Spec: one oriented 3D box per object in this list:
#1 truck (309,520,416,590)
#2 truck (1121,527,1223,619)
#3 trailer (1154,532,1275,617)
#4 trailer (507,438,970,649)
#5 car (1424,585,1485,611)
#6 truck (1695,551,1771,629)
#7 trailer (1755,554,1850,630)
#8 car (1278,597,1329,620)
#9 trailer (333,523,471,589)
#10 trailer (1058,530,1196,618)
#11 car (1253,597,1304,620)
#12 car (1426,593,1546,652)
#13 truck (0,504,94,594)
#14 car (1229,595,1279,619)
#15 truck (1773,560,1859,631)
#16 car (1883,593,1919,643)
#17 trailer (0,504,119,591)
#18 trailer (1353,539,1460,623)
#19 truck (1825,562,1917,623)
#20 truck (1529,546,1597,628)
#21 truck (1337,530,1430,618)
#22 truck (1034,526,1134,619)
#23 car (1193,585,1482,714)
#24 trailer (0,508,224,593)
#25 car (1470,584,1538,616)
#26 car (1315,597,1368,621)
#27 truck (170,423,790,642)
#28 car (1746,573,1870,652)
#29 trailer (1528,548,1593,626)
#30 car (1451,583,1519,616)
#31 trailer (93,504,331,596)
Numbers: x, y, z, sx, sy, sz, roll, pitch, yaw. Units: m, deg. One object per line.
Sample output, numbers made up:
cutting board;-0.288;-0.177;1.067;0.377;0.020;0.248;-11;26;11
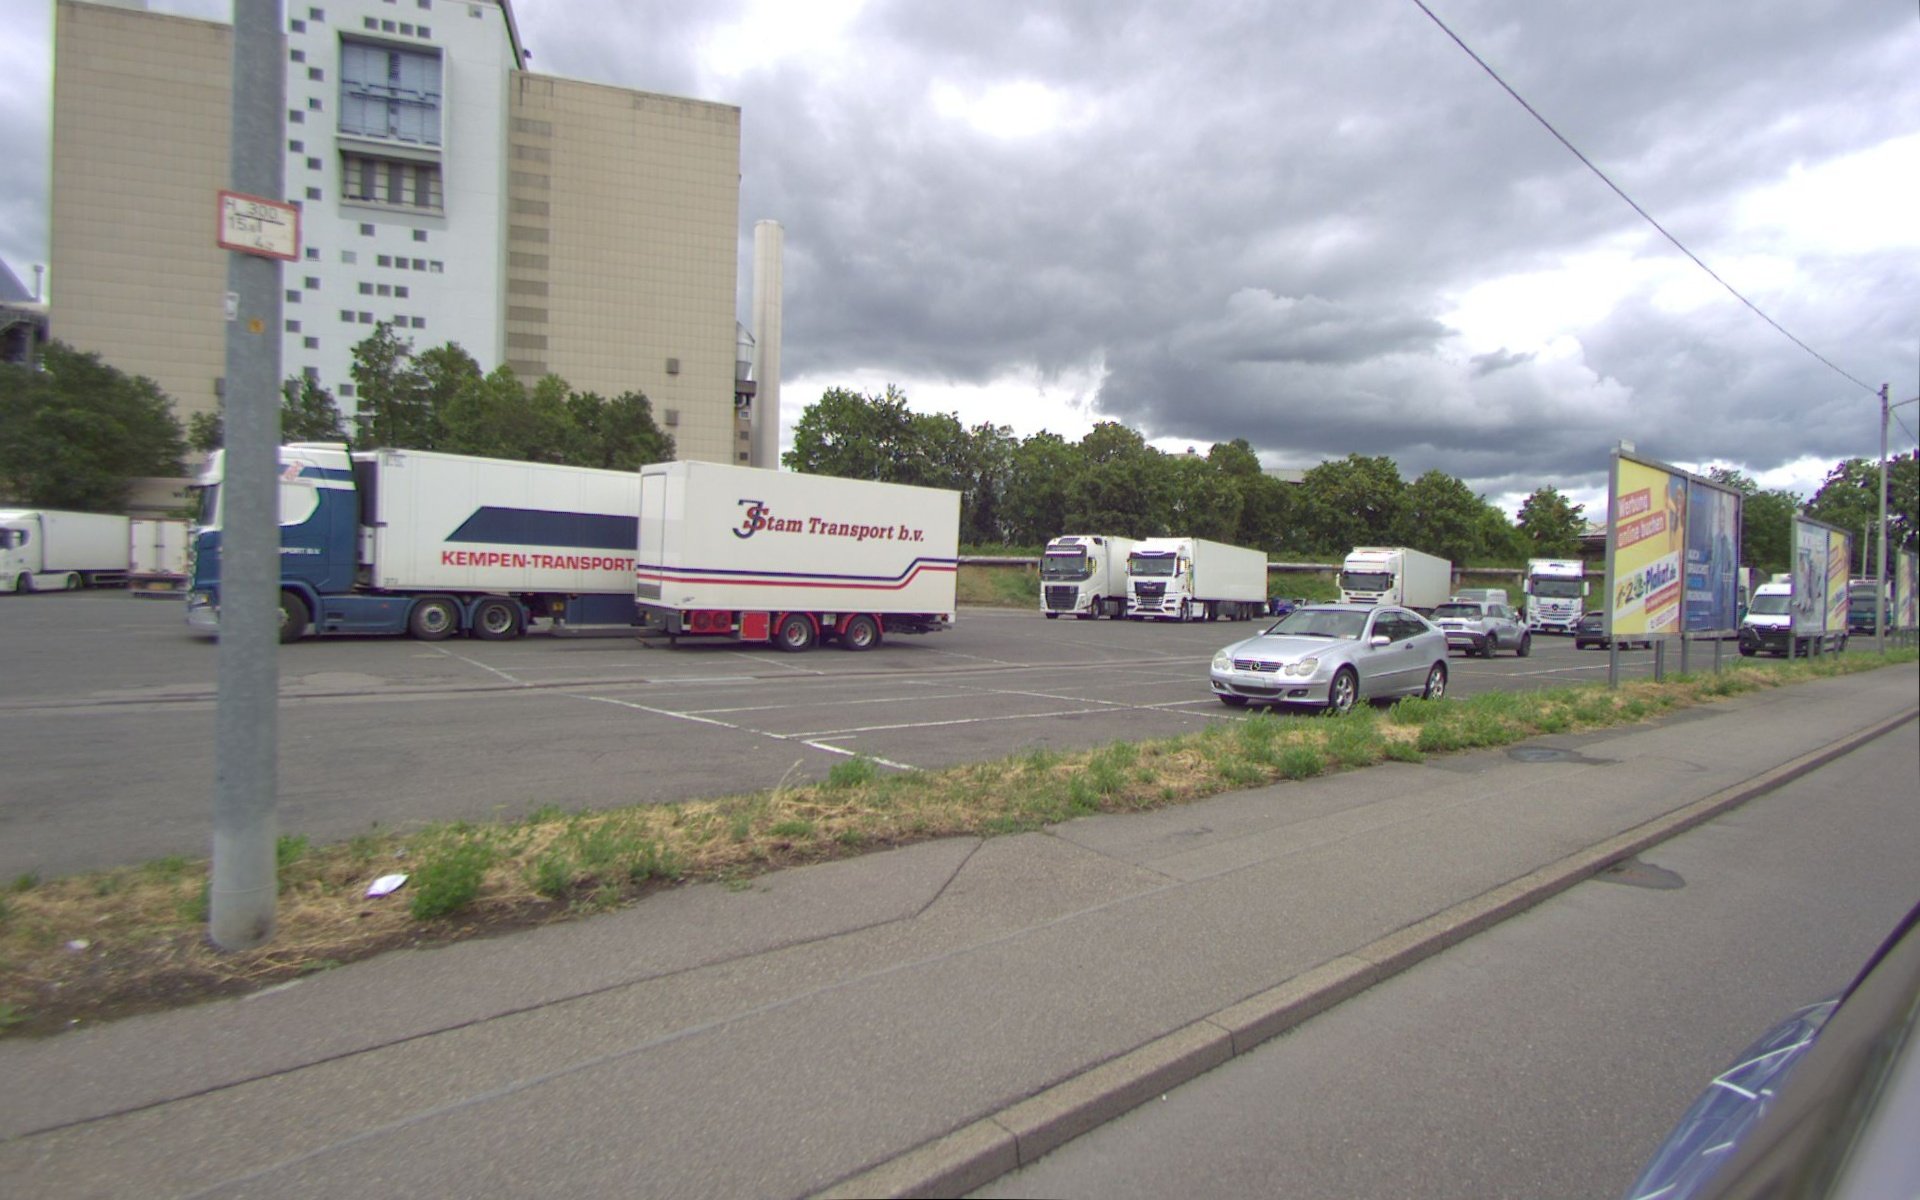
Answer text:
truck;-37.043;-2.737;63.115;3.634;4.014;7.271;1;1;-12
truck;10.412;-1.279;49.119;2.597;4.145;6.679;3;2;32
trailer;14.126;-1.323;55.101;2.596;4.145;12.302;3;2;32
trailer;-4.734;-1.130;23.649;10.214;4.016;2.966;0;3;-38
car;39.202;-0.192;80.425;1.959;1.916;4.728;1;1;-9
truck;43.067;-0.568;56.555;2.856;4.063;6.674;3;2;34
trailer;51.534;-0.522;62.271;2.820;4.145;13.237;3;2;33
car;26.825;0.636;79.162;1.958;1.629;4.229;1;1;-11
trailer;-39.084;-2.931;72.025;3.566;4.008;18.540;1;1;-13
trailer;9.183;-1.324;53.846;2.596;4.145;12.302;3;2;32
car;24.664;0.615;78.570;1.958;1.629;4.229;1;1;-11
car;15.238;0.627;29.235;3.930;1.591;1.767;0;-1;-41
truck;-47.184;-2.502;50.094;3.633;4.172;7.272;1;1;-14
car;22.585;0.510;77.839;1.958;1.629;4.229;1;1;-11
truck;48.062;-0.273;56.996;2.856;3.675;6.674;3;2;34
car;71.807;1.369;73.896;3.299;3.652;8.615;2;1;20
trailer;-52.275;-2.795;54.023;3.484;4.557;18.328;0;1;-13
trailer;25.220;-1.015;56.666;2.822;4.145;13.226;3;2;35
truck;60.114;-0.532;67.007;2.808;3.758;9.003;1;1;31
truck;32.608;-0.720;54.911;2.850;4.145;6.686;3;2;29
truck;21.601;-1.275;51.408;2.857;4.145;6.671;3;2;35
truck;6.054;-1.306;48.762;2.597;4.145;5.590;3;2;32
car;5.291;0.574;13.888;4.480;1.482;1.777;0;1;-41
trailer;-49.373;-2.669;59.048;3.566;4.141;18.541;1;1;-14
car;44.132;-0.018;82.236;2.321;2.479;4.928;1;1;-9
car;29.520;0.684;78.412;1.958;1.629;4.008;1;1;-11
truck;-10.444;-1.305;23.927;12.839;4.016;3.082;0;3;-41
car;28.580;0.378;34.018;5.974;2.446;2.091;0;1;-39
trailer;36.081;-0.786;61.191;2.815;4.145;13.259;3;2;29
car;41.737;-0.083;80.603;2.321;2.479;4.928;1;1;-9
trailer;-40.925;-2.572;56.862;3.566;4.225;18.540;1;1;-13
